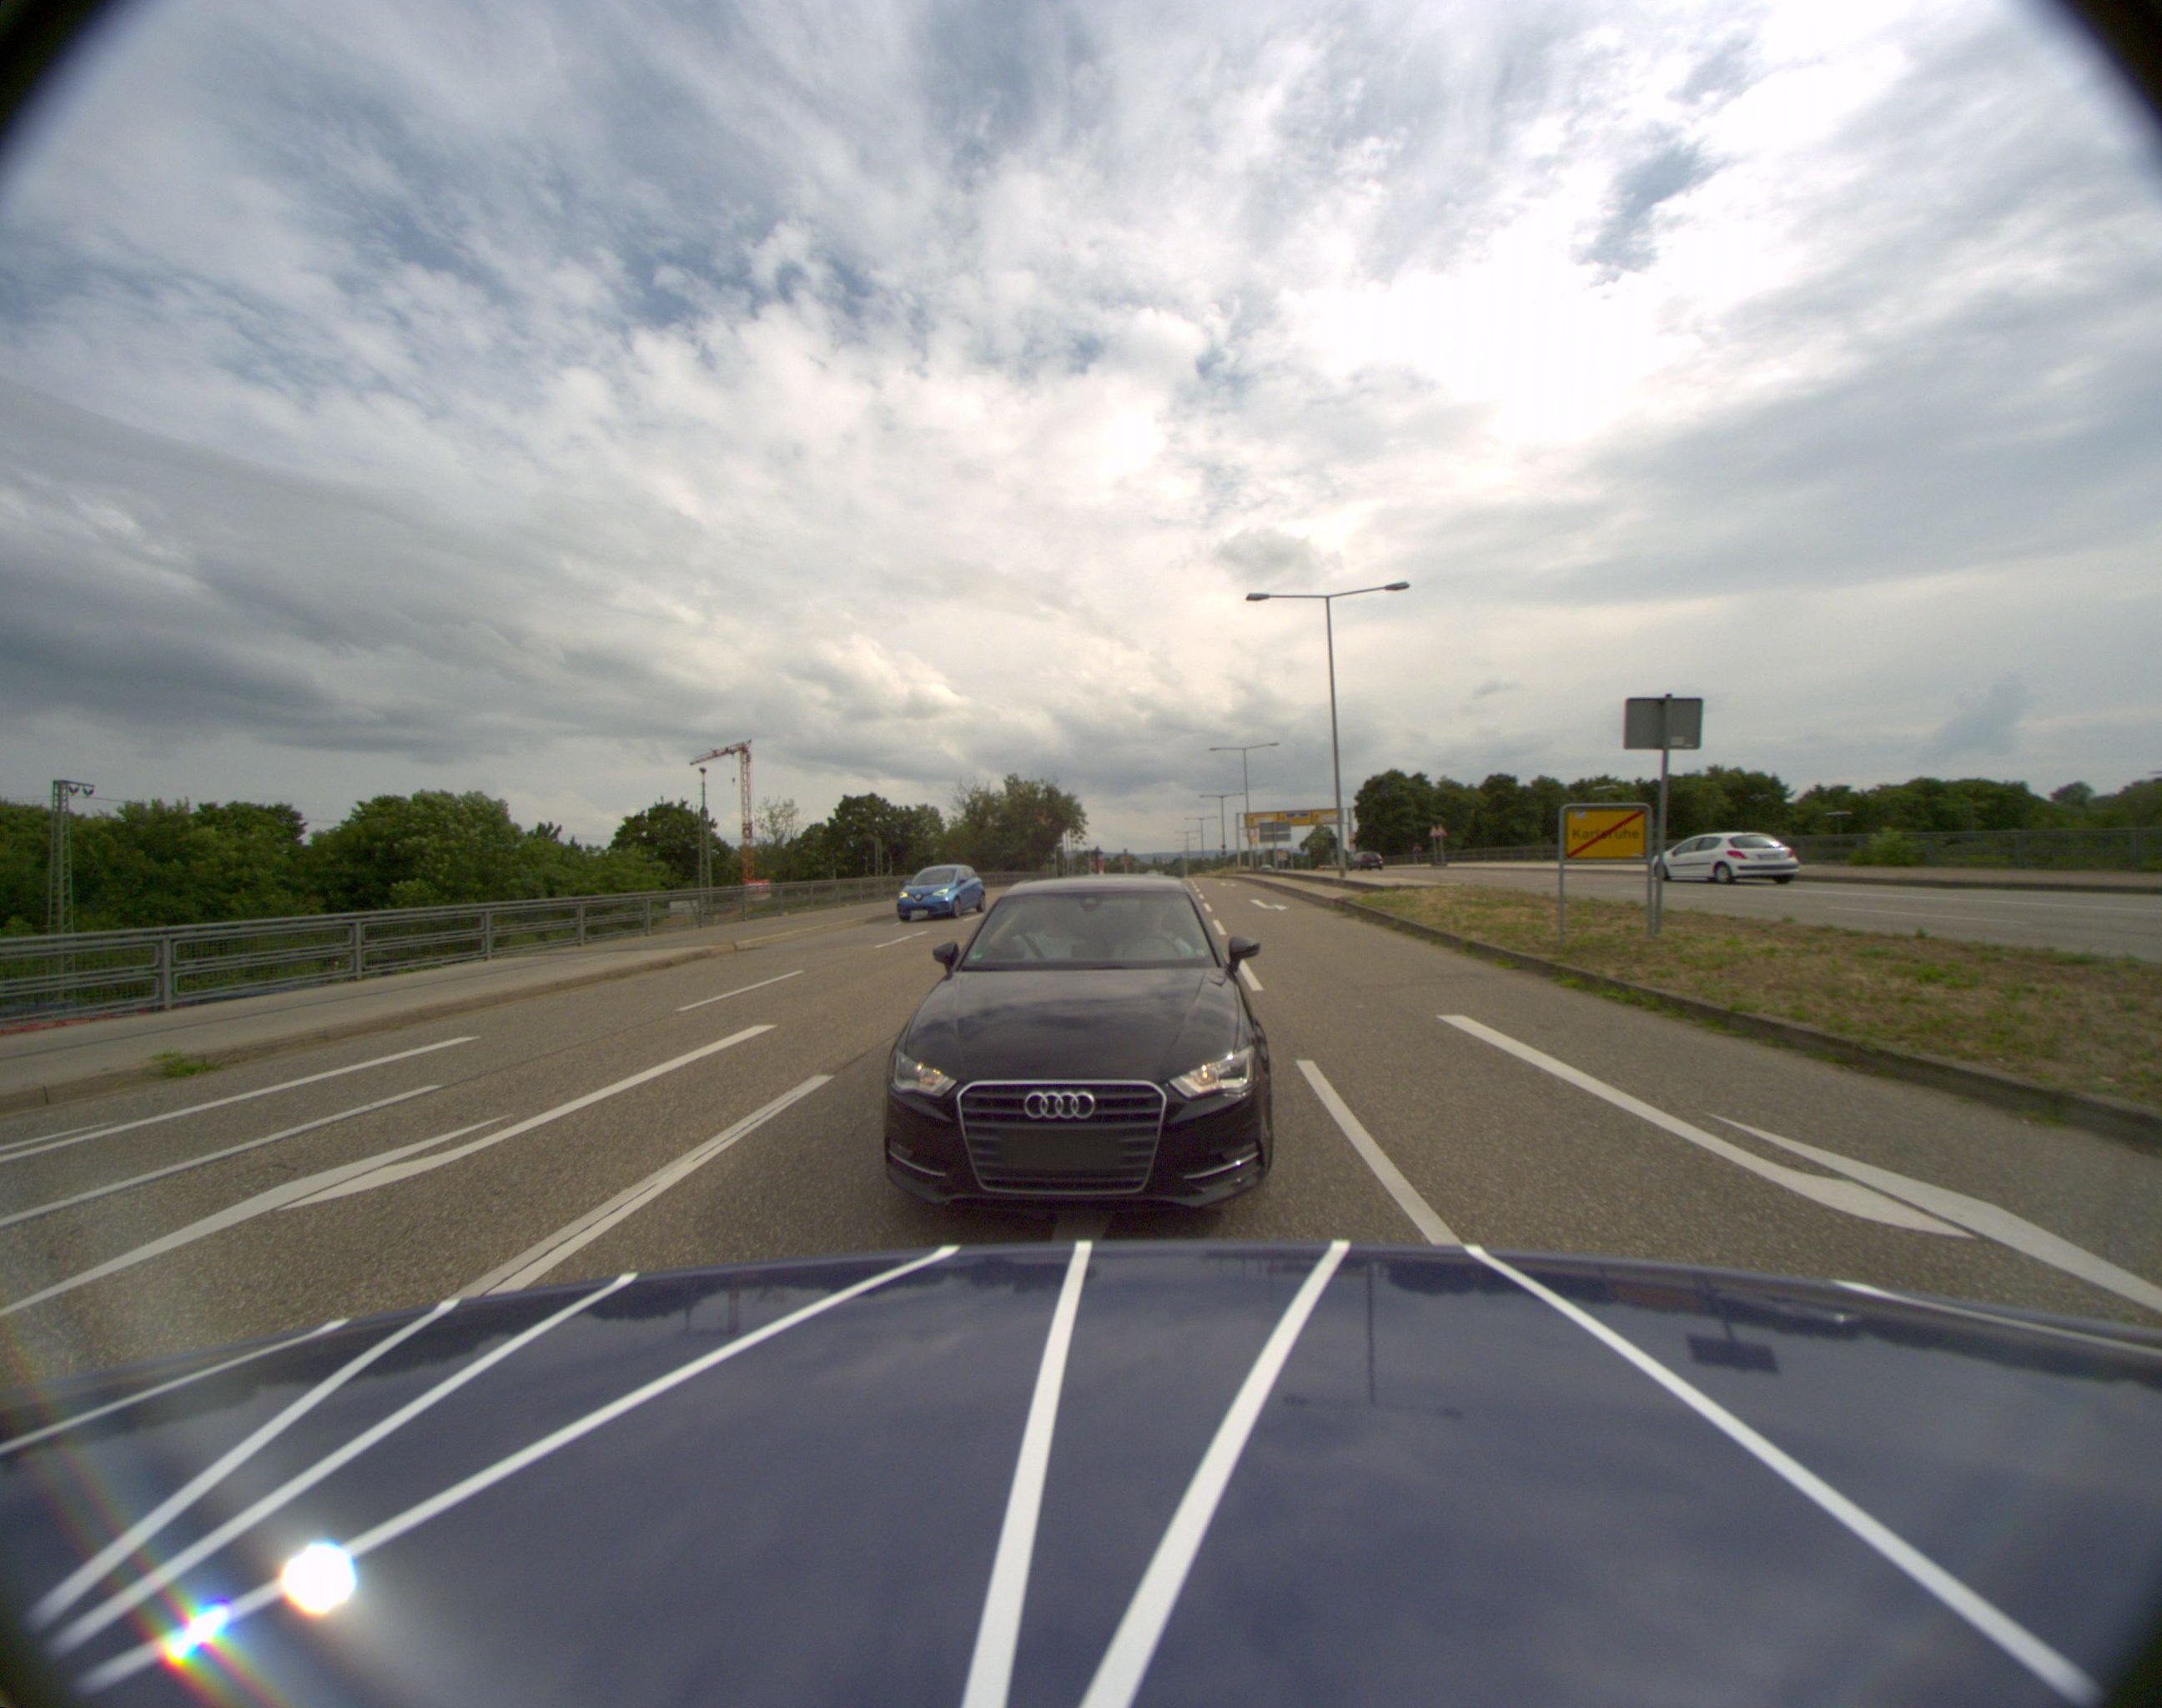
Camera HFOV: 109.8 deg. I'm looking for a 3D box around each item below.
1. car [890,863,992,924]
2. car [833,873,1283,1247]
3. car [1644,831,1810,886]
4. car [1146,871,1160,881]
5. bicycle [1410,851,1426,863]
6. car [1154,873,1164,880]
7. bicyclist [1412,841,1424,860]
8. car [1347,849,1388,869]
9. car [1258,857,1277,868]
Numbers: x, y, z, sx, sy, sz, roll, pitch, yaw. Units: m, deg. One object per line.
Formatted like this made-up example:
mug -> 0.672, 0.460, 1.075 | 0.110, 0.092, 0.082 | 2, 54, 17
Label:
car -> -4.134, 1.130, 23.084 | 1.724, 1.512, 3.952 | -4, 0, 9
car -> 0.155, 0.927, 5.525 | 1.851, 1.355, 4.731 | -2, 0, 7
car -> 18.976, 0.103, 22.571 | 1.729, 1.437, 3.877 | -2, 1, 3
car -> 10.610, 3.244, 111.690 | 1.860, 1.335, 4.002 | -2, 0, 7
bicycle -> 29.651, 0.240, 66.848 | 0.685, 1.047, 1.995 | -3, 0, 7
car -> 16.709, 4.858, 162.935 | 1.860, 1.335, 4.002 | -2, 0, 7
bicyclist -> 29.614, -0.295, 66.798 | 0.685, 1.662, 0.848 | -3, 0, 7
car -> 22.116, 0.382, 58.829 | 1.797, 1.410, 4.001 | -2, 0, 3
car -> 25.871, 1.177, 105.396 | 1.825, 1.438, 4.354 | -2, 0, 5
